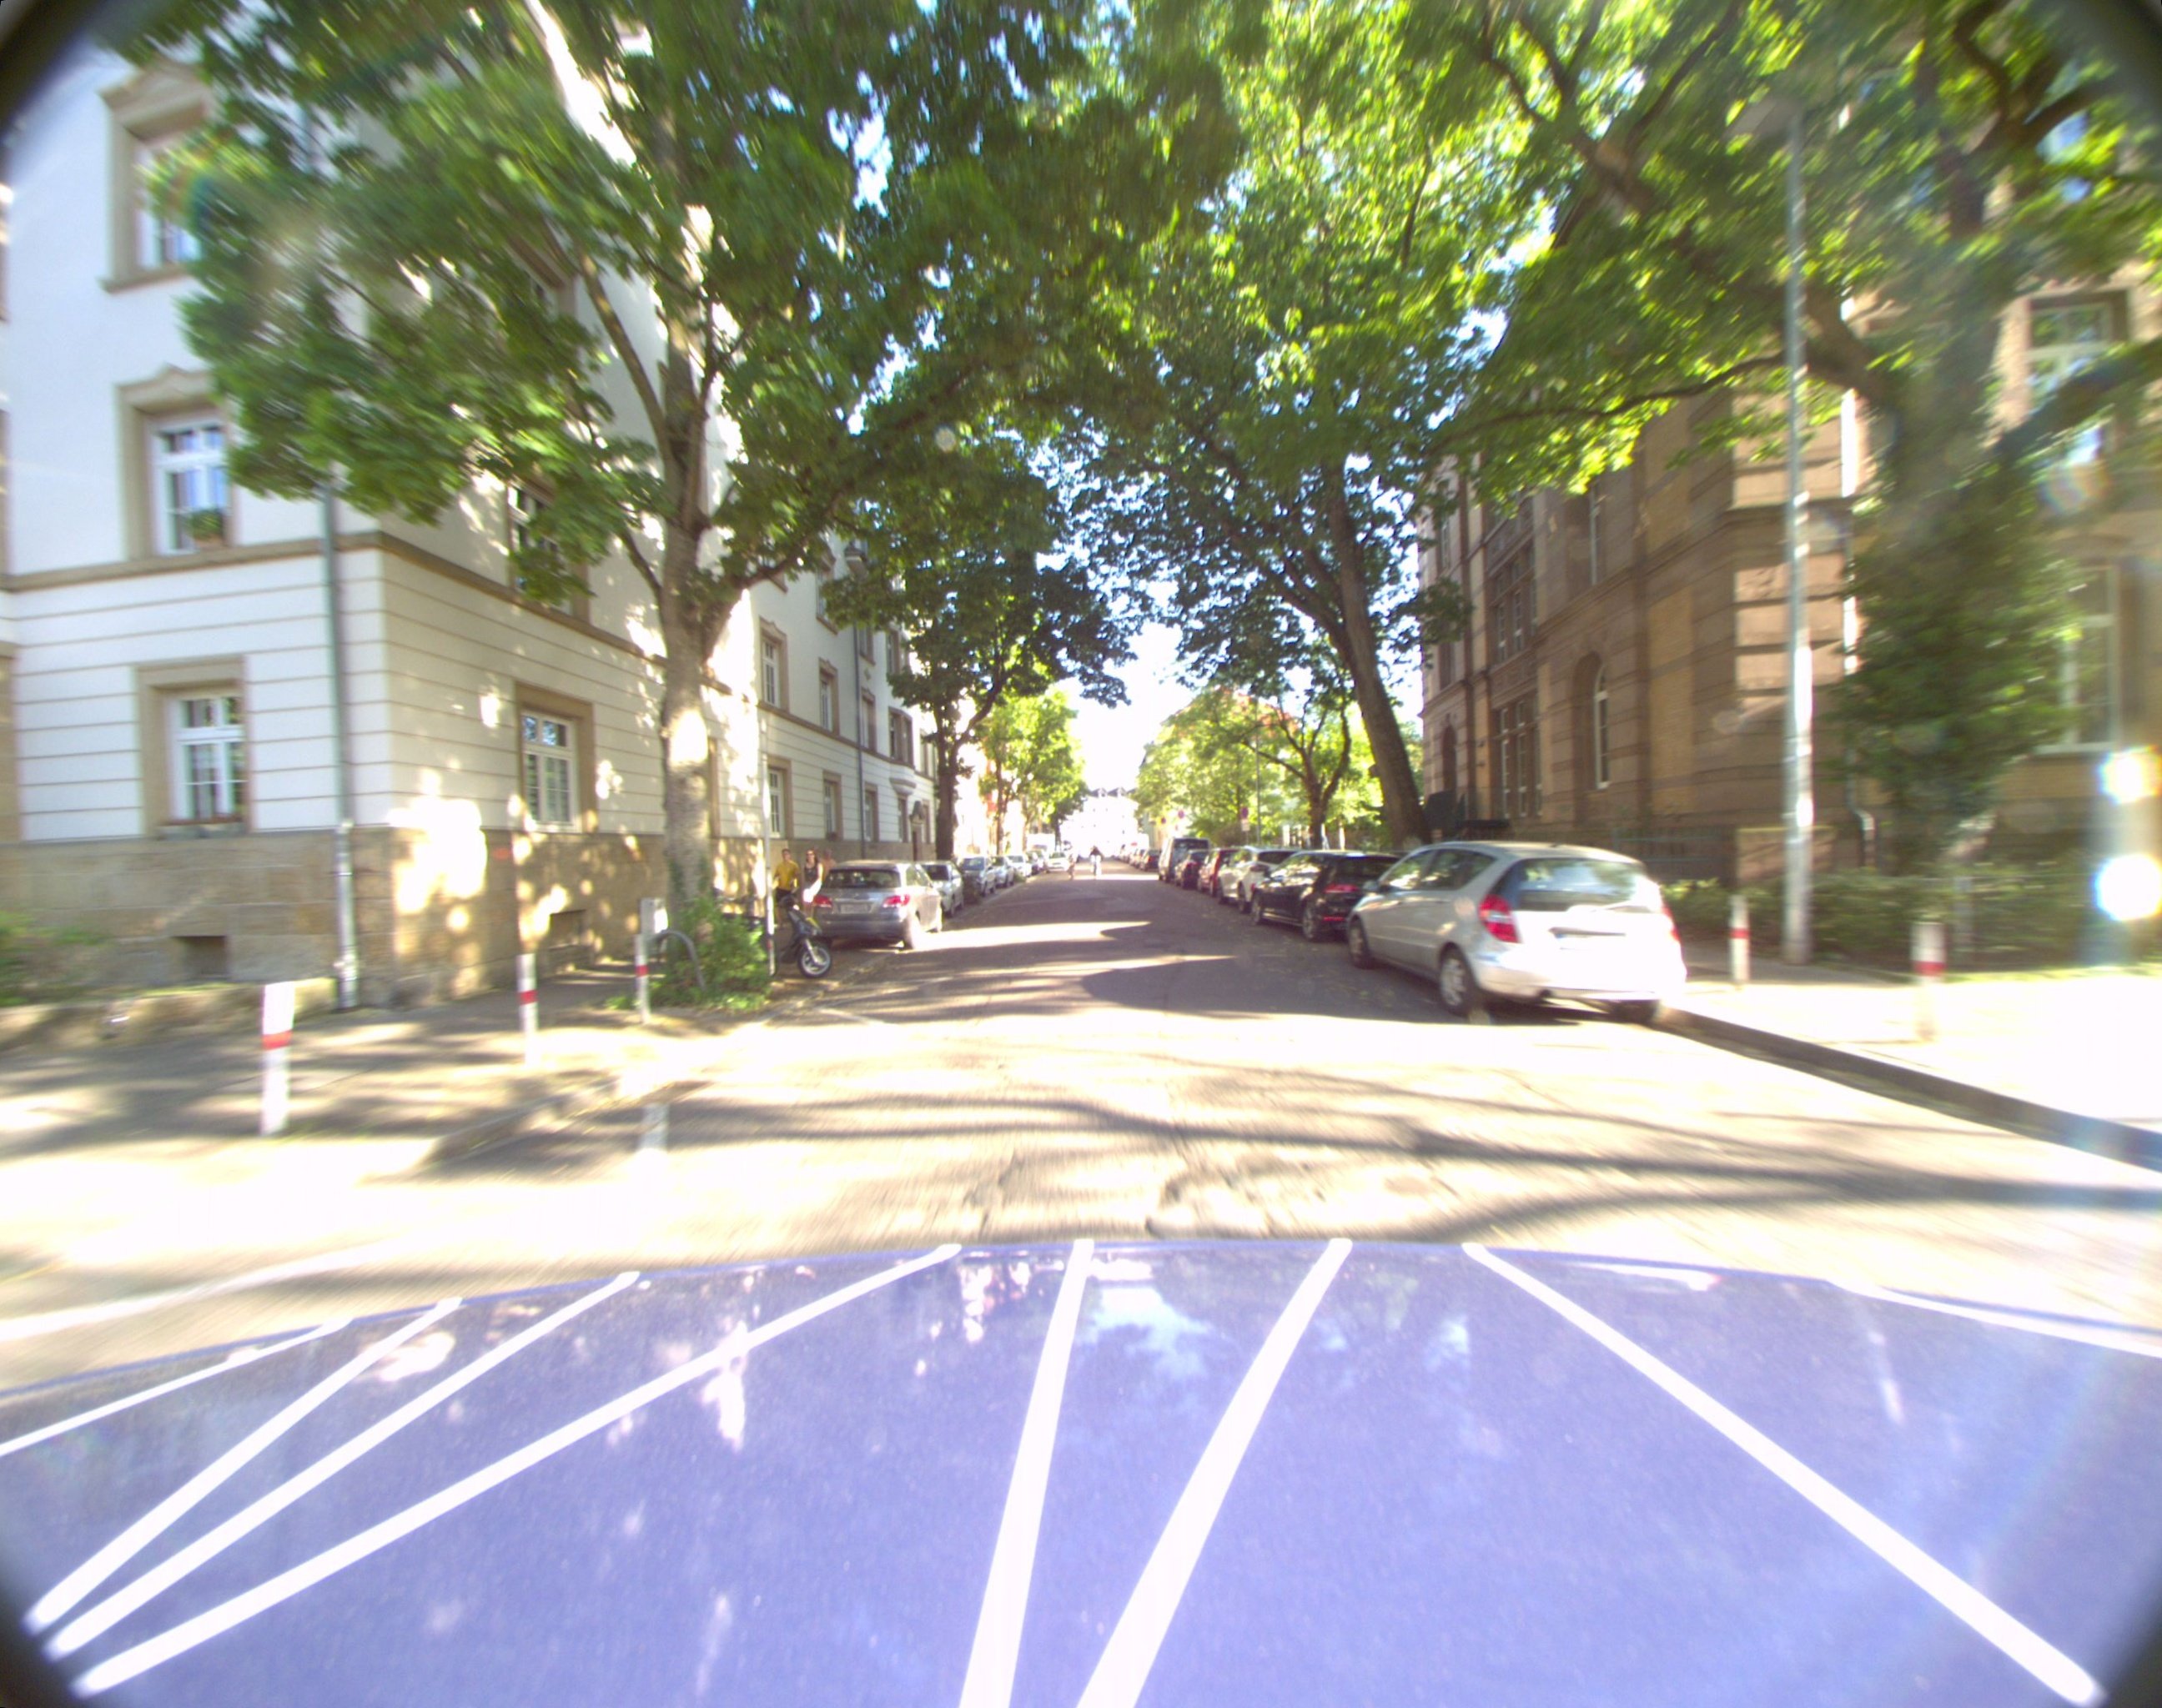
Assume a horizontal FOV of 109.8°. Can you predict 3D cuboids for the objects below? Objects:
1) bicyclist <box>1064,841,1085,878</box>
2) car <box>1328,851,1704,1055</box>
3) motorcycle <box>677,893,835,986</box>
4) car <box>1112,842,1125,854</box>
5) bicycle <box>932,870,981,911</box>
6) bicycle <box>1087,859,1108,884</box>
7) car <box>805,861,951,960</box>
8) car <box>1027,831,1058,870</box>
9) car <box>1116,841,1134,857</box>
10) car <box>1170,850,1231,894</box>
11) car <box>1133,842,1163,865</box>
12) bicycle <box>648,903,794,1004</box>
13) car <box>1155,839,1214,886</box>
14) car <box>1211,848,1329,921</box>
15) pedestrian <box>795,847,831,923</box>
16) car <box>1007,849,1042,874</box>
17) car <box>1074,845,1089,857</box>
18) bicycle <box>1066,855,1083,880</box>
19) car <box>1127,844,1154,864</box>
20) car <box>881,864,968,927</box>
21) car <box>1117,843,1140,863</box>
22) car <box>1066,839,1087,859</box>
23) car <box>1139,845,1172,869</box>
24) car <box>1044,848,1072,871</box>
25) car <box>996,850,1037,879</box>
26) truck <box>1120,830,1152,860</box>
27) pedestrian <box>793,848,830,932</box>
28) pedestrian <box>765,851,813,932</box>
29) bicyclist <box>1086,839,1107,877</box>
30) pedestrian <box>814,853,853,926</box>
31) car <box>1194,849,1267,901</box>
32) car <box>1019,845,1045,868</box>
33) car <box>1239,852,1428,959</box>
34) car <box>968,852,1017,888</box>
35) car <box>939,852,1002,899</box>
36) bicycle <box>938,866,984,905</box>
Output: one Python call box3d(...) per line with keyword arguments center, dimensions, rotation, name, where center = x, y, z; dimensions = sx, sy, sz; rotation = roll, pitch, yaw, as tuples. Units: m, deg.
box3d(center=(-0.325, 0.284, 38.320), dimensions=(0.934, 1.809, 1.077), rotation=(-2, 1, 1), name="bicyclist")
box3d(center=(4.104, 0.782, 8.036), dimensions=(1.710, 1.550, 3.951), rotation=(1, 1, 0), name="car")
box3d(center=(-4.402, 1.145, 10.381), dimensions=(1.855, 1.205, 0.678), rotation=(0, 0, -2), name="motorcycle")
box3d(center=(5.275, -0.848, 108.426), dimensions=(1.597, 1.557, 3.999), rotation=(-2, 1, 0), name="car")
box3d(center=(-3.860, 1.130, 23.600), dimensions=(1.414, 1.188, 0.336), rotation=(-3, 1, -2), name="bicycle")
box3d(center=(0.833, 0.857, 38.668), dimensions=(0.985, 1.136, 2.547), rotation=(-2, 1, 1), name="bicycle")
box3d(center=(-3.717, 0.955, 14.677), dimensions=(1.685, 1.531, 4.133), rotation=(-1, 1, 0), name="car")
box3d(center=(-3.216, -0.341, 64.987), dimensions=(1.998, 2.984, 6.238), rotation=(-5, 1, 1), name="car")
box3d(center=(5.328, -0.631, 92.582), dimensions=(1.809, 1.791, 4.189), rotation=(-2, 1, 0), name="car")
box3d(center=(4.383, 0.622, 28.353), dimensions=(1.731, 1.455, 3.844), rotation=(-1, 1, 1), name="car")
box3d(center=(4.773, -0.039, 54.654), dimensions=(1.755, 1.464, 3.999), rotation=(-4, 1, 1), name="car")
box3d(center=(-4.514, 1.216, 9.515), dimensions=(1.795, 1.155, 0.433), rotation=(-1, 1, 17), name="bicycle")
box3d(center=(4.512, 0.313, 33.831), dimensions=(1.998, 1.946, 5.042), rotation=(0, 1, 1), name="car")
box3d(center=(4.355, 0.641, 18.158), dimensions=(1.793, 1.524, 3.999), rotation=(1, 1, 0), name="car")
box3d(center=(-6.659, 0.755, 18.889), dimensions=(0.529, 1.834, 0.707), rotation=(-2, 1, 2), name="pedestrian")
box3d(center=(-3.540, 0.455, 48.440), dimensions=(1.812, 1.412, 4.000), rotation=(-2, 1, 1), name="car")
box3d(center=(0.098, -0.475, 113.718), dimensions=(2.146, 1.758, 4.809), rotation=(-2, 1, 2), name="car")
box3d(center=(-0.316, 0.660, 38.367), dimensions=(0.810, 1.136, 2.547), rotation=(-2, 1, 1), name="bicycle")
box3d(center=(4.713, -0.041, 60.723), dimensions=(1.788, 1.450, 4.208), rotation=(-2, 1, 1), name="car")
box3d(center=(-4.083, 1.029, 20.339), dimensions=(1.728, 1.399, 3.854), rotation=(-2, 1, -4), name="car")
box3d(center=(5.055, -0.150, 81.768), dimensions=(2.146, 2.002, 4.808), rotation=(-3, 1, 1), name="car")
box3d(center=(-0.432, -0.550, 83.654), dimensions=(2.146, 2.002, 4.863), rotation=(-2, 1, 1), name="car")
box3d(center=(4.674, 0.156, 48.306), dimensions=(1.739, 1.456, 4.000), rotation=(-2, 1, 1), name="car")
box3d(center=(-1.556, 0.379, 52.831), dimensions=(1.654, 1.449, 4.000), rotation=(-2, 1, 1), name="car")
box3d(center=(-3.627, 0.561, 43.407), dimensions=(1.824, 1.521, 4.000), rotation=(-2, 1, 1), name="car")
box3d(center=(5.143, -0.887, 72.421), dimensions=(2.395, 2.642, 7.091), rotation=(-2, 1, -1), name="truck")
box3d(center=(-5.614, 0.743, 15.846), dimensions=(0.520, 1.709, 0.516), rotation=(-3, 1, -1), name="pedestrian")
box3d(center=(-6.281, 0.796, 16.373), dimensions=(0.624, 1.675, 0.818), rotation=(-3, 1, 0), name="pedestrian")
box3d(center=(0.802, 0.193, 38.556), dimensions=(0.967, 1.904, 1.139), rotation=(-2, 1, 1), name="bicyclist")
box3d(center=(-6.491, 0.908, 19.925), dimensions=(0.706, 1.834, 0.840), rotation=(-3, 1, -5), name="pedestrian")
box3d(center=(4.554, 0.584, 23.545), dimensions=(1.624, 1.455, 3.310), rotation=(-1, 1, 1), name="car")
box3d(center=(-3.774, 0.183, 59.015), dimensions=(1.660, 1.674, 4.082), rotation=(-2, 1, 1), name="car")
box3d(center=(4.120, 0.752, 13.118), dimensions=(1.586, 1.456, 3.997), rotation=(1, 2, -5), name="car")
box3d(center=(-3.944, 0.692, 34.459), dimensions=(1.651, 1.434, 4.000), rotation=(-2, 1, 1), name="car")
box3d(center=(-4.094, 0.747, 28.687), dimensions=(1.639, 1.524, 4.000), rotation=(-2, 1, 1), name="car")
box3d(center=(-3.936, 1.038, 24.917), dimensions=(1.414, 1.188, 0.336), rotation=(-3, 1, -2), name="bicycle")
